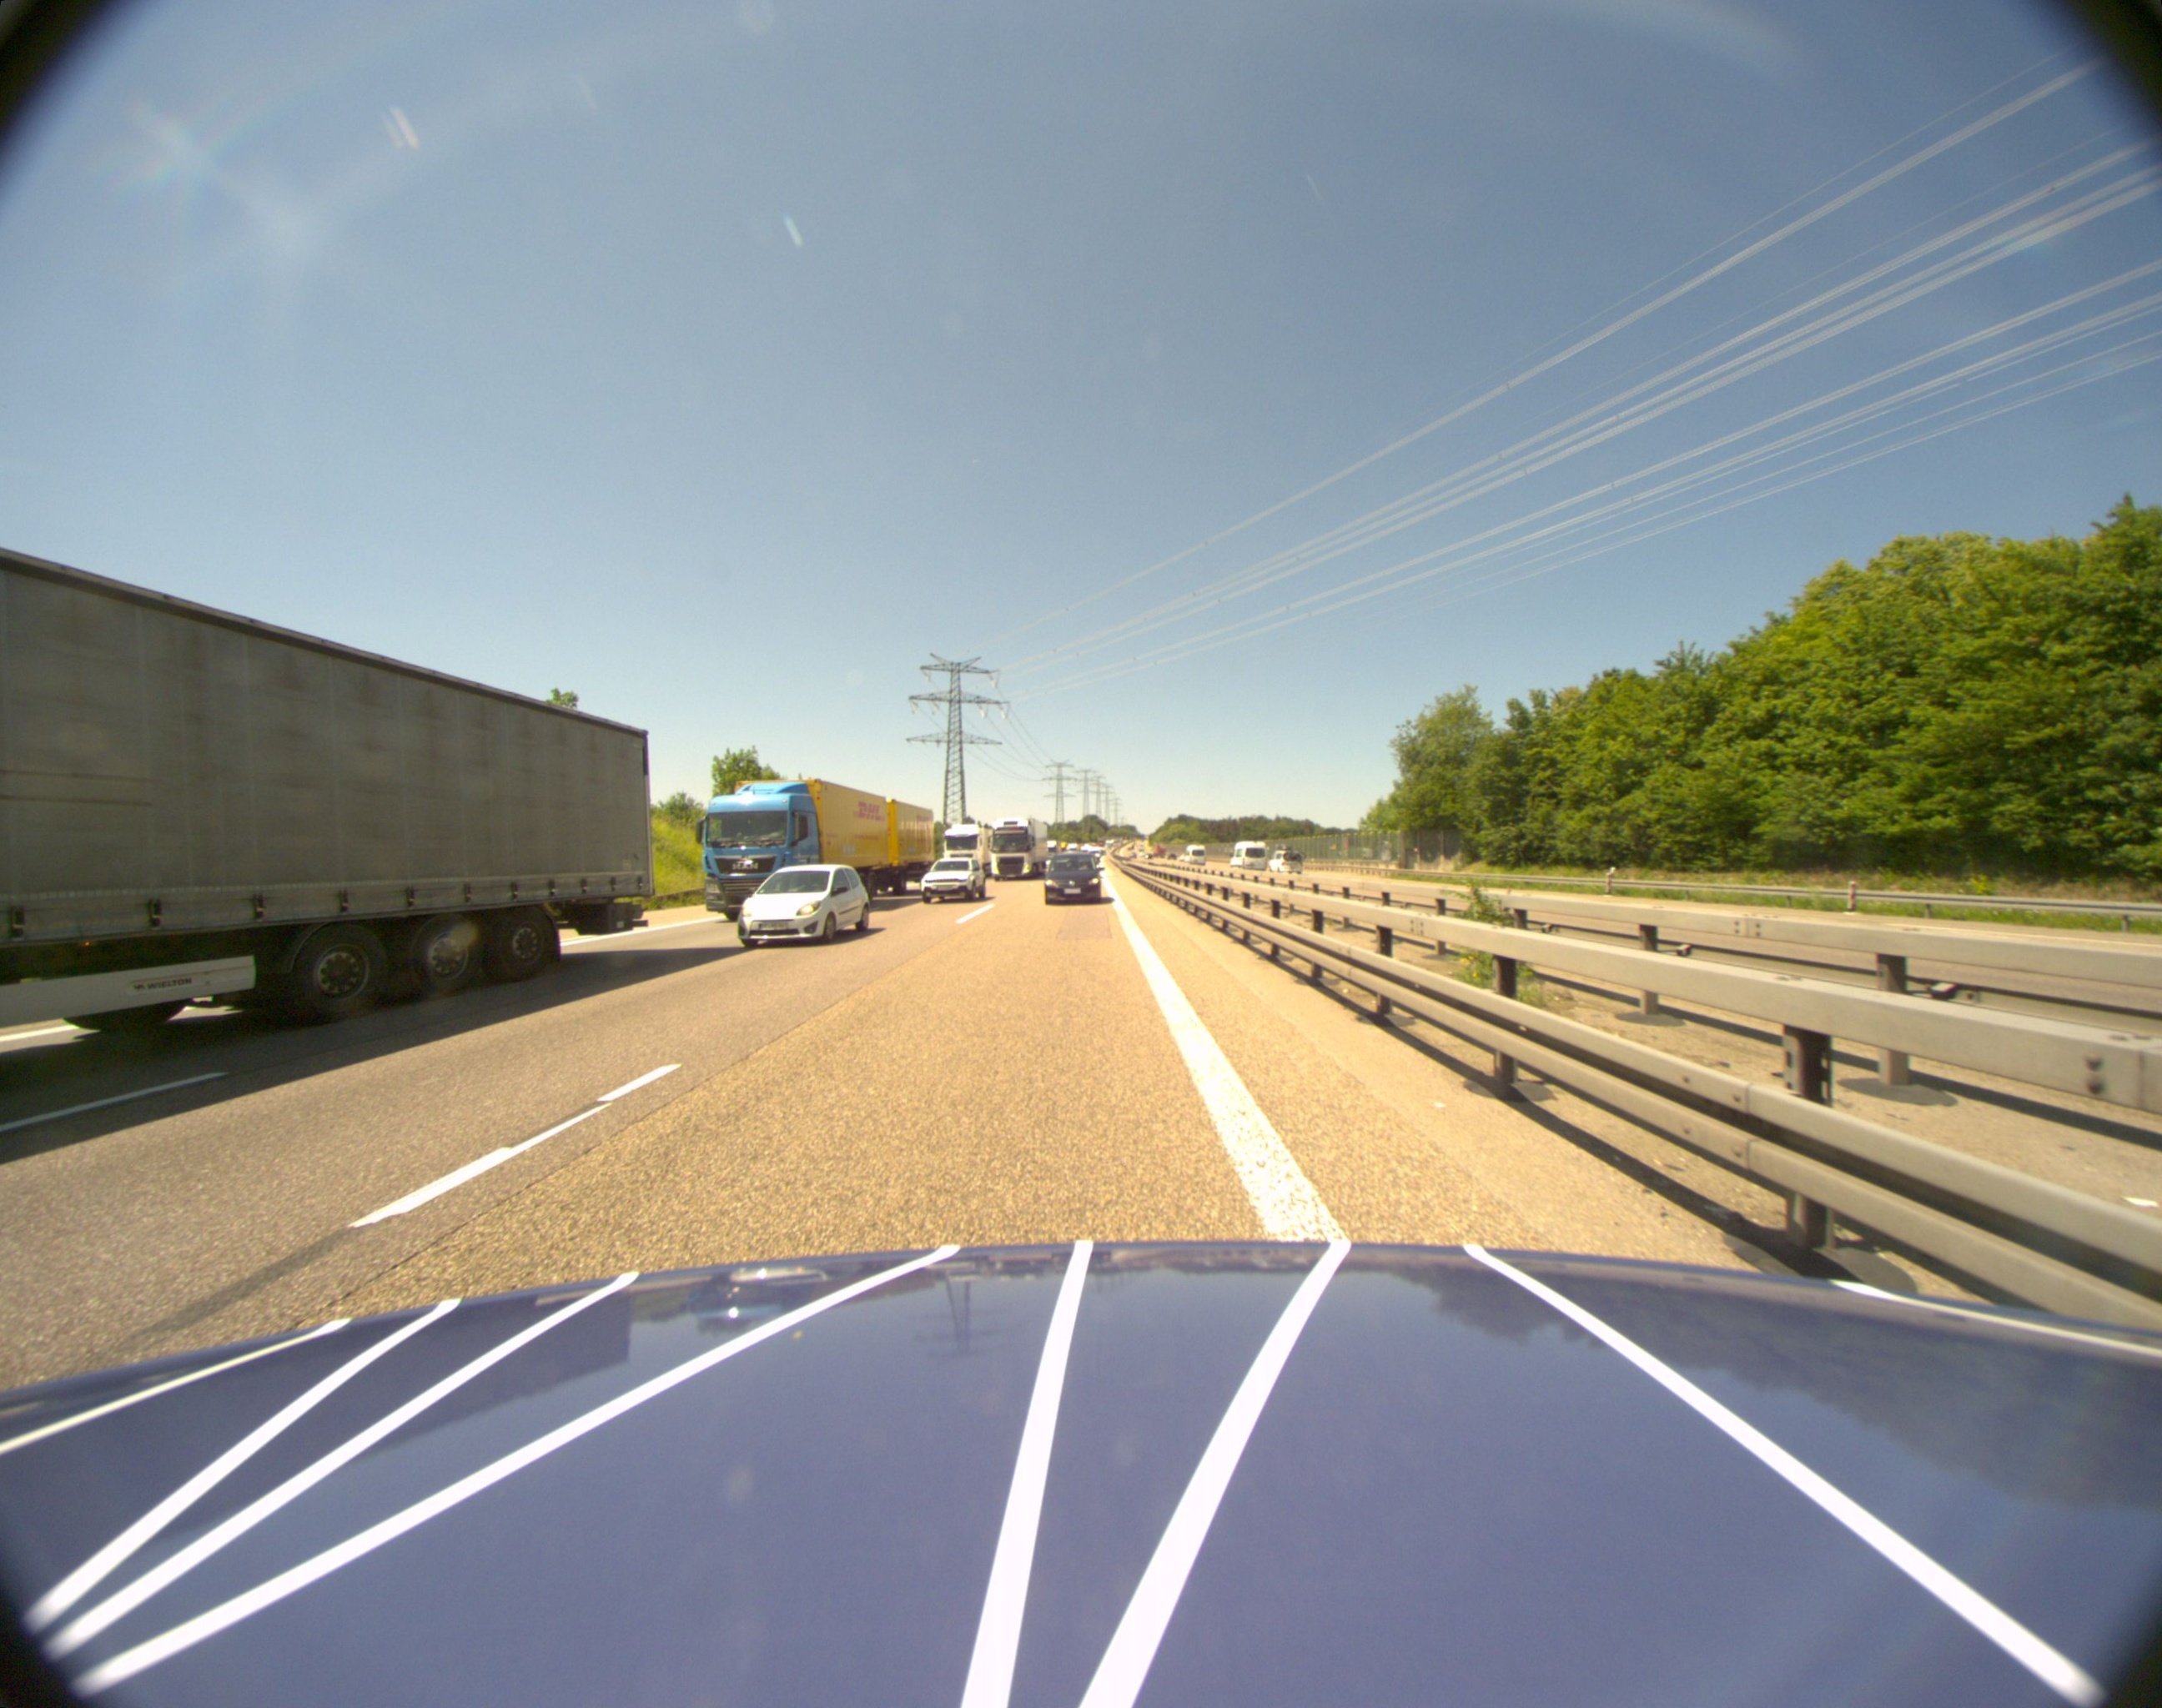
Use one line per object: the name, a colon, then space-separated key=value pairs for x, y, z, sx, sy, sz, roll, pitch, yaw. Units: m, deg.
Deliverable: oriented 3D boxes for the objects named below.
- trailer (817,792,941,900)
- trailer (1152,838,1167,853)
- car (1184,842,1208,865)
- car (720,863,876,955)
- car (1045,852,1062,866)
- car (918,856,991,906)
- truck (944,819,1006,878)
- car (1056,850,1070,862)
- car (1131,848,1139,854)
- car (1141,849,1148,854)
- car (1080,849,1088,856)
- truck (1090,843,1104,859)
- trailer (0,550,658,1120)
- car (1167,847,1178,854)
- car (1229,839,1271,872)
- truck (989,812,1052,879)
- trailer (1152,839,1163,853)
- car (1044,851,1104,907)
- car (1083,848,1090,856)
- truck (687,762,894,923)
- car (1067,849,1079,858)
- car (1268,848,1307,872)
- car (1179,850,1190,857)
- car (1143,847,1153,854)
trailer: x=-8.684 y=-0.291 z=34.033 sx=2.772 sy=4.093 sz=9.377 roll=-2 pitch=0 yaw=1
trailer: x=21.977 y=-2.344 z=213.115 sx=2.770 sy=3.953 sz=14.681 roll=1 pitch=0 yaw=1
car: x=14.250 y=-0.142 z=94.491 sx=2.058 sy=2.636 sz=5.837 roll=3 pitch=1 yaw=0
car: x=-5.473 y=0.998 z=15.239 sx=1.659 sy=1.502 sz=3.825 roll=0 pitch=1 yaw=0
car: x=-3.390 y=0.590 z=93.208 sx=1.821 sy=1.569 sz=3.999 roll=-2 pitch=1 yaw=1
car: x=-4.442 y=0.902 z=27.166 sx=1.776 sy=1.521 sz=3.851 roll=-2 pitch=1 yaw=2
truck: x=-7.834 y=-0.422 z=57.712 sx=2.695 sy=3.907 sz=11.297 roll=-2 pitch=1 yaw=1
car: x=-2.583 y=0.288 z=109.250 sx=1.821 sy=1.569 sz=3.999 roll=-2 pitch=1 yaw=1
car: x=13.800 y=-0.766 z=195.354 sx=1.778 sy=1.621 sz=3.950 roll=-2 pitch=1 yaw=0
car: x=19.467 y=-0.886 z=233.391 sx=1.855 sy=1.458 sz=4.304 roll=0 pitch=1 yaw=0
car: x=0.757 y=-0.339 z=183.426 sx=1.821 sy=1.569 sz=3.999 roll=-2 pitch=1 yaw=1
truck: x=2.830 y=-0.574 z=134.952 sx=2.309 sy=2.789 sz=5.109 roll=-2 pitch=1 yaw=2
trailer: x=-9.105 y=-0.096 z=6.607 sx=2.970 sy=4.026 sz=13.751 roll=-2 pitch=0 yaw=0
car: x=21.652 y=-0.778 z=180.192 sx=1.998 sy=1.567 sz=5.274 roll=-2 pitch=1 yaw=0
car: x=13.772 y=0.068 z=62.283 sx=2.161 sy=2.579 sz=5.889 roll=0 pitch=1 yaw=0
truck: x=-3.995 y=-0.571 z=53.895 sx=2.717 sy=4.015 sz=14.256 roll=-2 pitch=0 yaw=2
trailer: x=22.081 y=-2.342 z=219.073 sx=2.764 sy=3.953 sz=6.131 roll=1 pitch=0 yaw=1
car: x=-0.150 y=0.756 z=24.818 sx=1.748 sy=1.569 sz=4.000 roll=-2 pitch=1 yaw=2
car: x=1.652 y=-0.640 z=217.631 sx=1.998 sy=2.002 sz=3.999 roll=-2 pitch=1 yaw=1
truck: x=-8.734 y=-0.287 z=24.661 sx=2.772 sy=4.085 sz=9.952 roll=-2 pitch=0 yaw=0
car: x=-1.384 y=-0.103 z=129.687 sx=1.821 sy=1.569 sz=3.999 roll=-2 pitch=1 yaw=1
car: x=17.585 y=0.452 z=64.924 sx=1.869 sy=1.894 sz=5.492 roll=1 pitch=1 yaw=0
car: x=20.965 y=-0.127 z=154.136 sx=1.689 sy=1.447 sz=4.345 roll=1 pitch=1 yaw=1
car: x=16.253 y=-0.846 z=184.813 sx=1.881 sy=1.438 sz=4.144 roll=-2 pitch=1 yaw=0
